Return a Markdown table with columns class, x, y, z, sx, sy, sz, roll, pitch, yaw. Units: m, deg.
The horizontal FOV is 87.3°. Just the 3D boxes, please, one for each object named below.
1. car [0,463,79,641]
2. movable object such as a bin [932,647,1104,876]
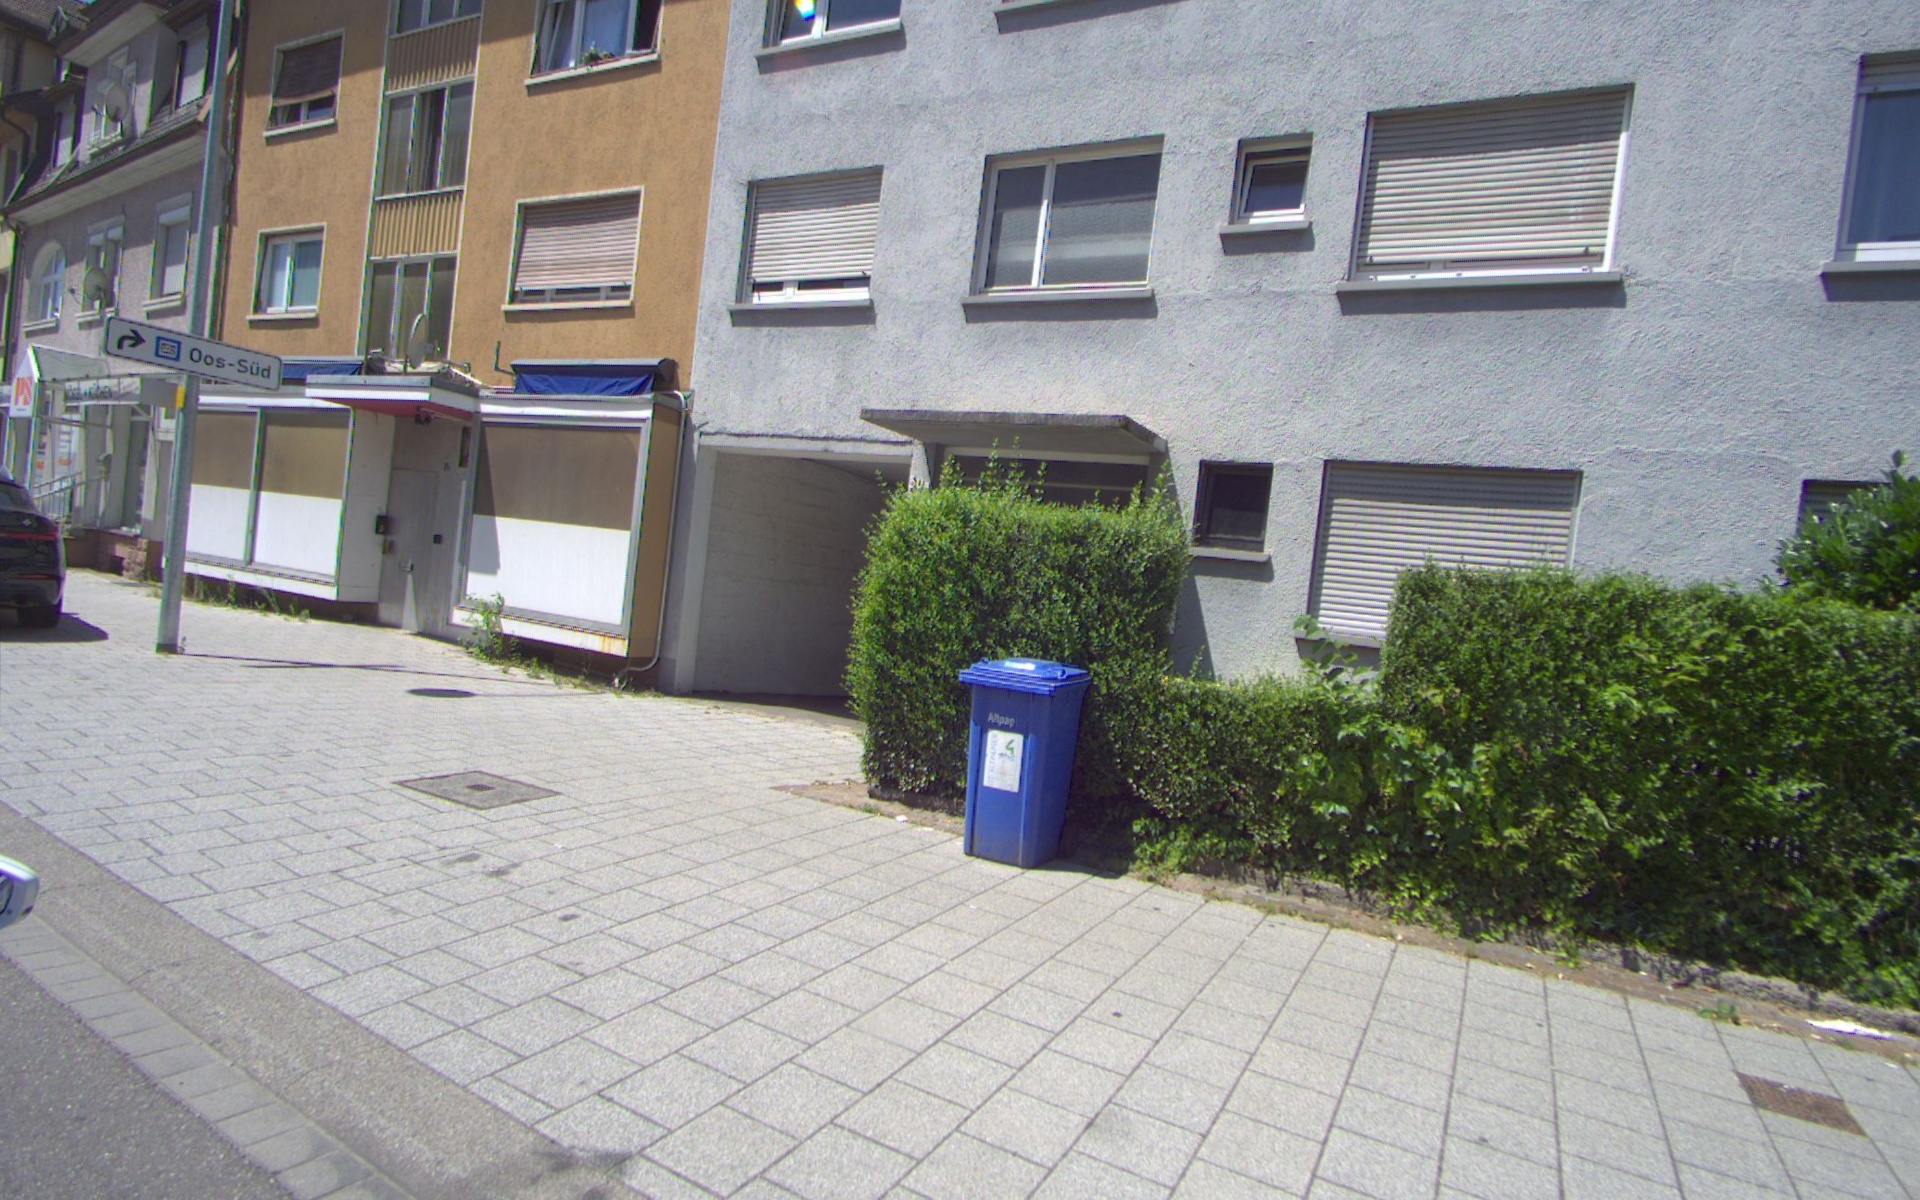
| class | x | y | z | sx | sy | sz | roll | pitch | yaw |
| --- | --- | --- | --- | --- | --- | --- | --- | --- | --- |
| car | -10.761 | -0.645 | 10.333 | 4.301 | 1.629 | 1.892 | 7 | 2 | 40 |
| movable object such as a bin | 0.323 | 0.835 | 5.494 | 0.636 | 1.091 | 0.594 | 7 | 2 | 31 |
